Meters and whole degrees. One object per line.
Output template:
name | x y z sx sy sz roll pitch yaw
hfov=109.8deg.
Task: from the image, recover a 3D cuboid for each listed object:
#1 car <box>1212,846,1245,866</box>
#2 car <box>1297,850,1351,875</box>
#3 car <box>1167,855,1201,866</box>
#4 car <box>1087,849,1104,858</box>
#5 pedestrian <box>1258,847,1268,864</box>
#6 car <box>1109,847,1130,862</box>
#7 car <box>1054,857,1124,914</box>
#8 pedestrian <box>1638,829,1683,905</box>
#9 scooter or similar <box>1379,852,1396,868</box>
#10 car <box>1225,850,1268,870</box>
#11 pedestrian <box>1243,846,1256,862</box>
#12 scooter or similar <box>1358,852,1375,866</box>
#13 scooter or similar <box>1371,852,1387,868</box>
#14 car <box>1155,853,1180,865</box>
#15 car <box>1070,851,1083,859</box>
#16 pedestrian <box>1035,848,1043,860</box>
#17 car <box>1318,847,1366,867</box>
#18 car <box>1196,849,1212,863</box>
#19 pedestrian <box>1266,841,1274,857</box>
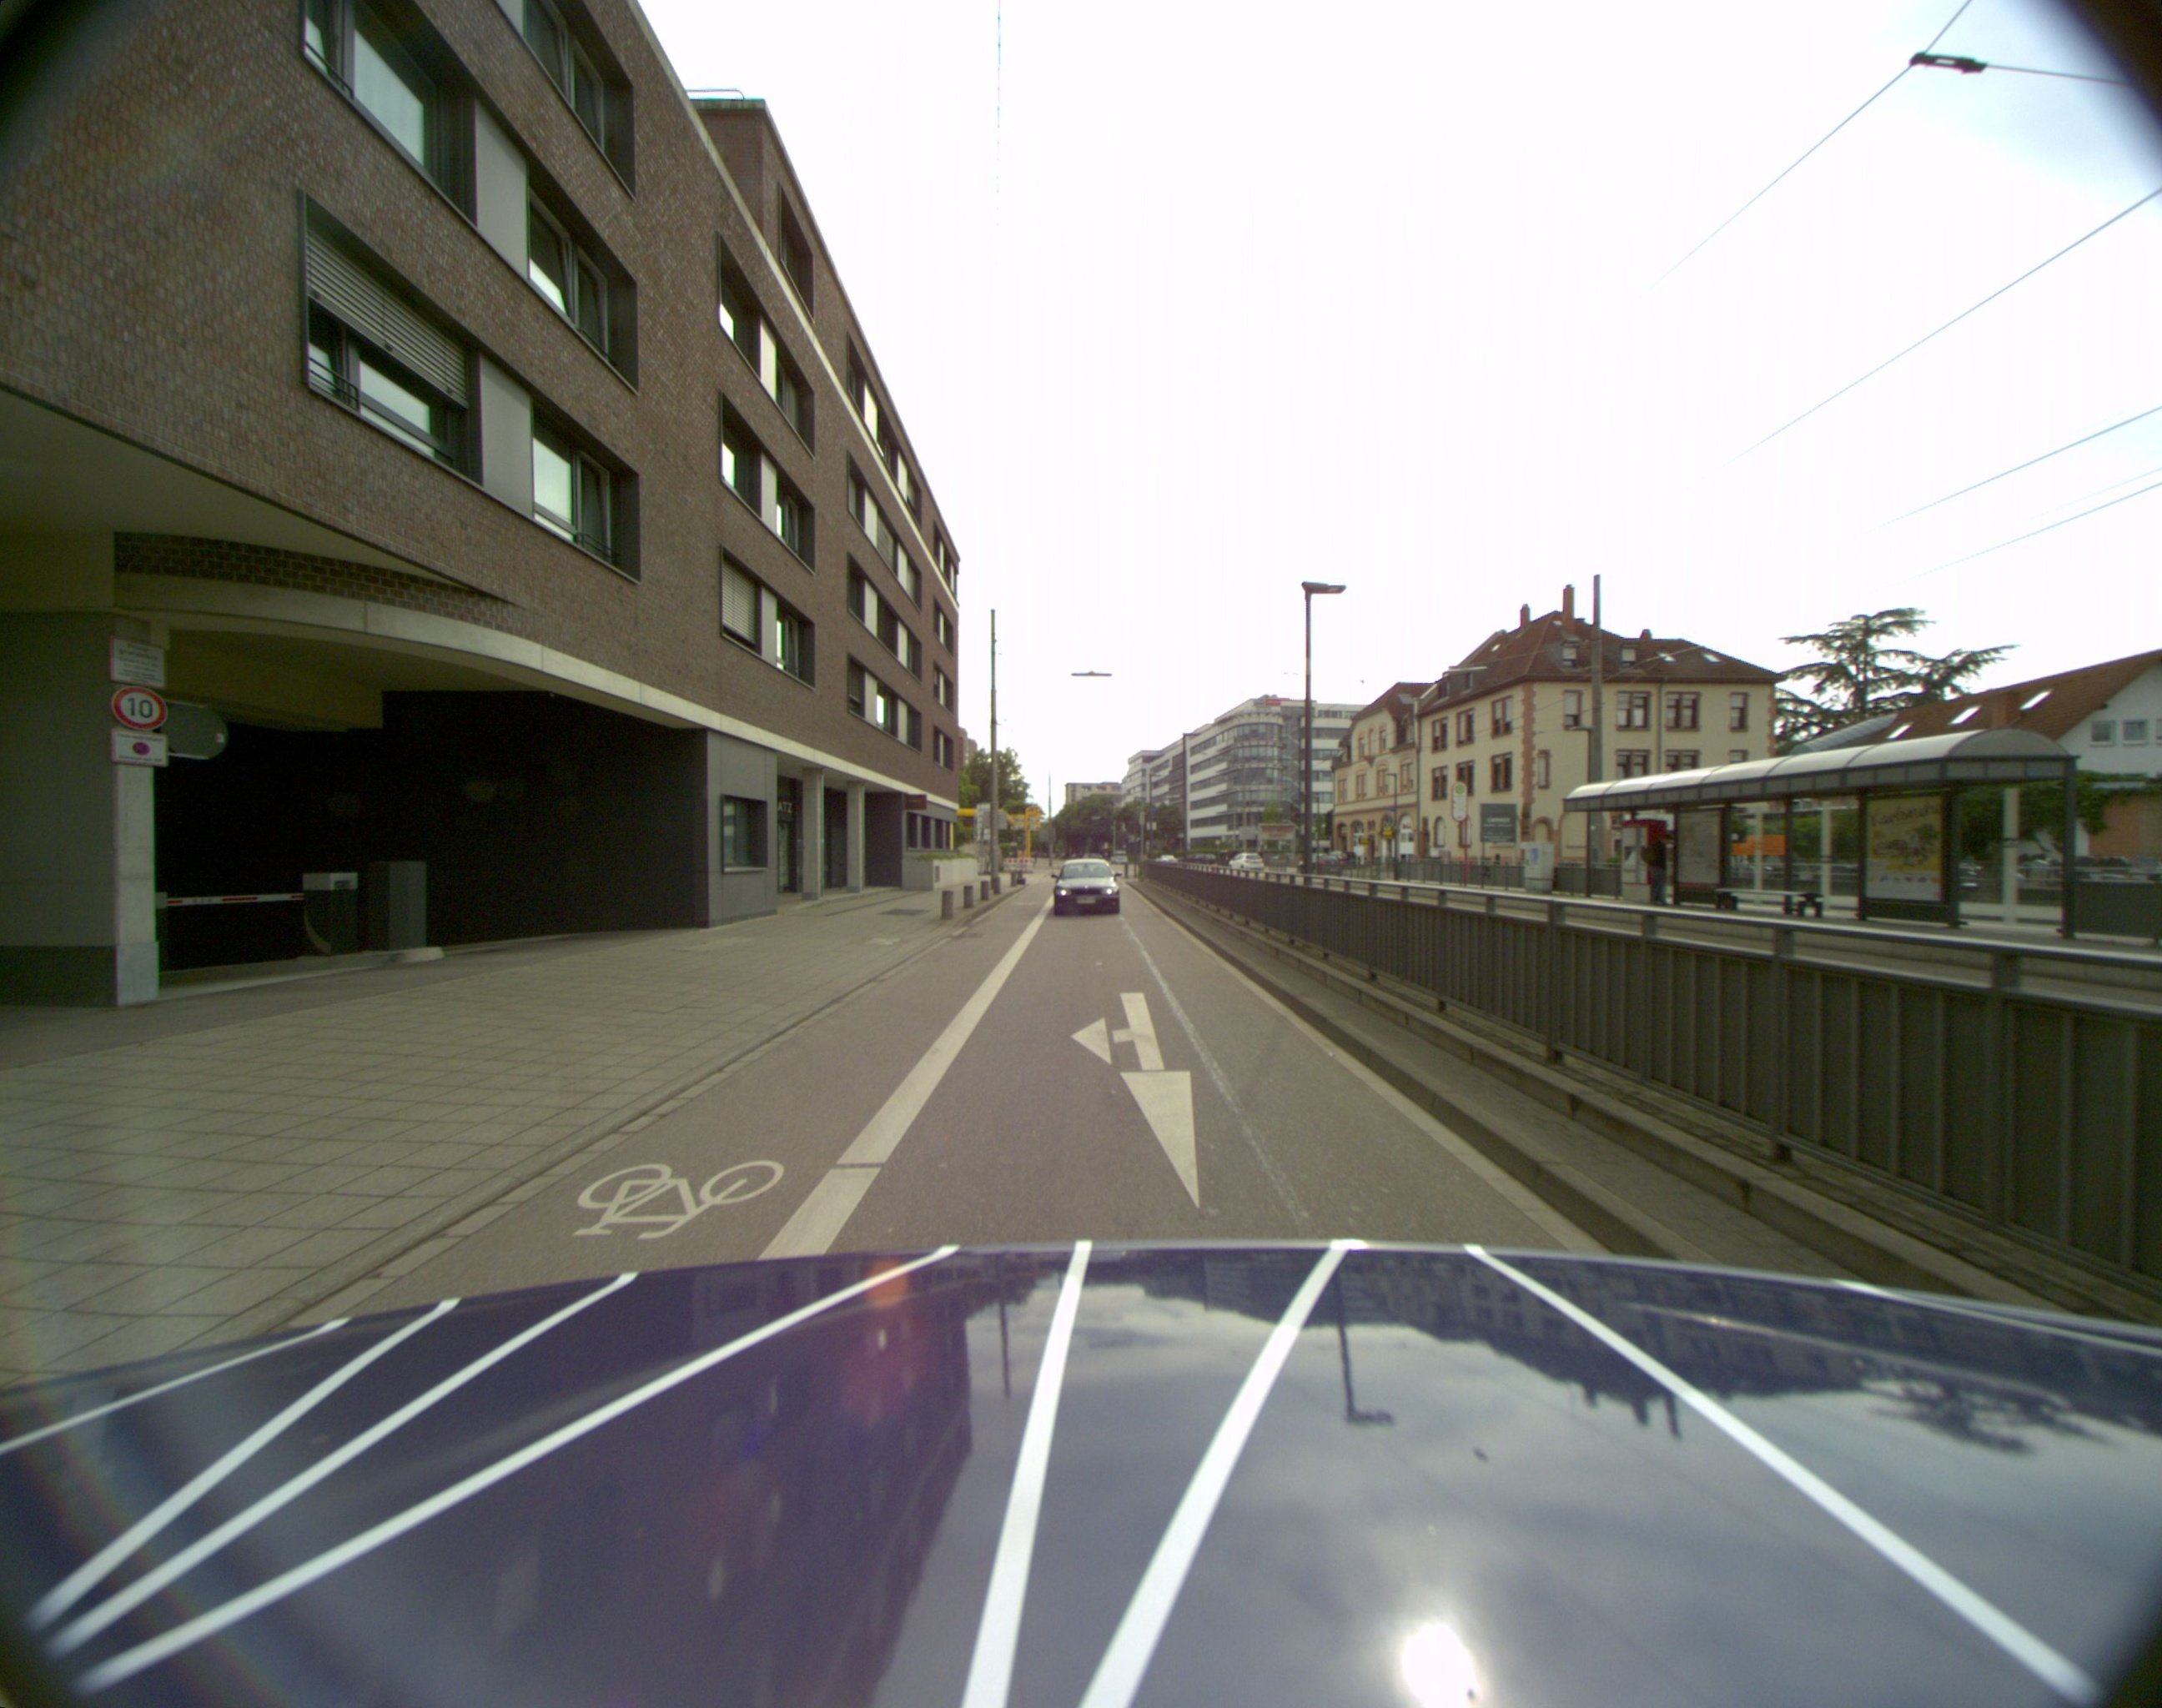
car | 15.576 0.188 80.617 1.992 2.002 5.181 -2 1 -5
car | 15.079 0.478 47.341 1.768 1.443 3.997 1 1 -5
car | 13.206 0.810 97.591 3.978 1.443 1.819 0 1 20
car | 2.376 -0.126 125.313 1.888 1.420 4.419 0 1 -11
pedestrian | 19.201 0.151 80.123 0.806 1.815 1.059 -1 1 -3
car | 5.343 0.040 105.908 1.890 1.977 4.520 0 1 -9
car | 0.246 0.825 21.782 1.786 1.361 4.112 -1 1 1
pedestrian | 13.081 0.277 17.155 0.698 1.655 0.616 -2 2 -32
scooter or similar | 21.977 0.418 54.535 1.180 1.095 0.526 -2 2 -33
car | 13.225 0.478 60.880 1.871 1.477 3.995 2 0 -12
pedestrian | 21.476 0.023 96.777 1.217 2.002 1.186 0 1 -19
scooter or similar | 22.886 0.407 60.879 1.178 1.095 0.527 -3 2 -8
scooter or similar | 21.708 0.411 55.319 1.180 1.095 0.526 -2 2 -33
car | 9.623 0.542 84.658 1.756 1.291 3.829 0 1 -9
car | -0.935 0.207 151.147 1.911 1.464 4.814 1 1 -10
pedestrian | -6.248 -0.067 113.871 0.871 1.738 0.848 2 2 -32
car | 21.959 0.193 64.061 1.999 1.484 4.900 -4 1 -4
car | 14.938 0.213 92.113 1.793 1.521 4.144 2 1 11
pedestrian | 21.618 -0.598 86.940 0.636 1.764 0.761 -1 1 -1
